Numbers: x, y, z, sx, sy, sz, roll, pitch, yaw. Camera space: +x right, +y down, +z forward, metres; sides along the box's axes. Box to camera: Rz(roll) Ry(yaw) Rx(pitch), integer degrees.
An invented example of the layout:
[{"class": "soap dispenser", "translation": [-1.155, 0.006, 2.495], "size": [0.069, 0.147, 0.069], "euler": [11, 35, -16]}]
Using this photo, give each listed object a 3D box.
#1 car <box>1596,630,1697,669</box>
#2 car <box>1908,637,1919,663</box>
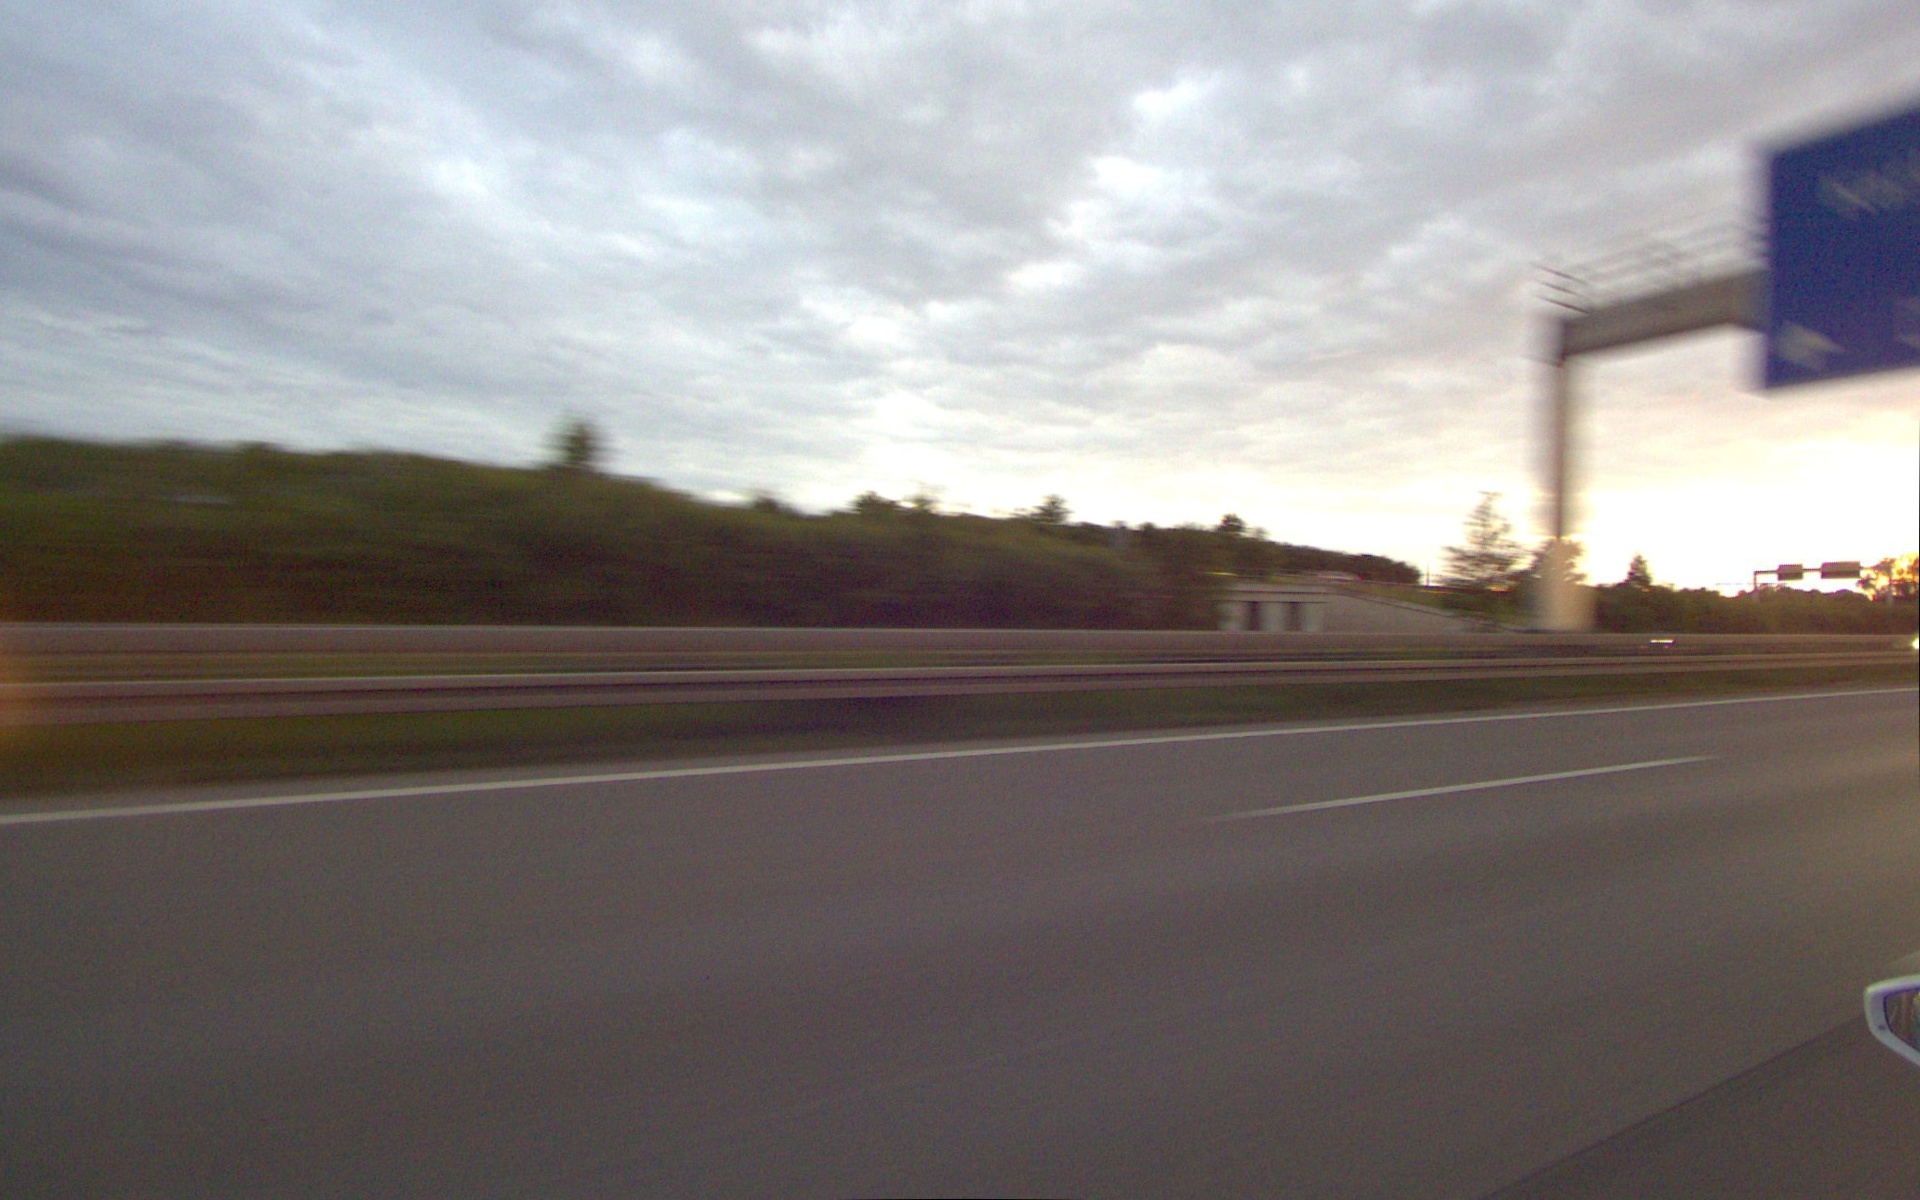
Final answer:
[{"class": "car", "translation": [28.096, 2.020, 41.081], "size": [4.378, 1.420, 1.681], "euler": [3, 0, -31]}, {"class": "car", "translation": [55.829, 2.921, 57.104], "size": [4.378, 1.420, 1.681], "euler": [3, 0, -31]}]
